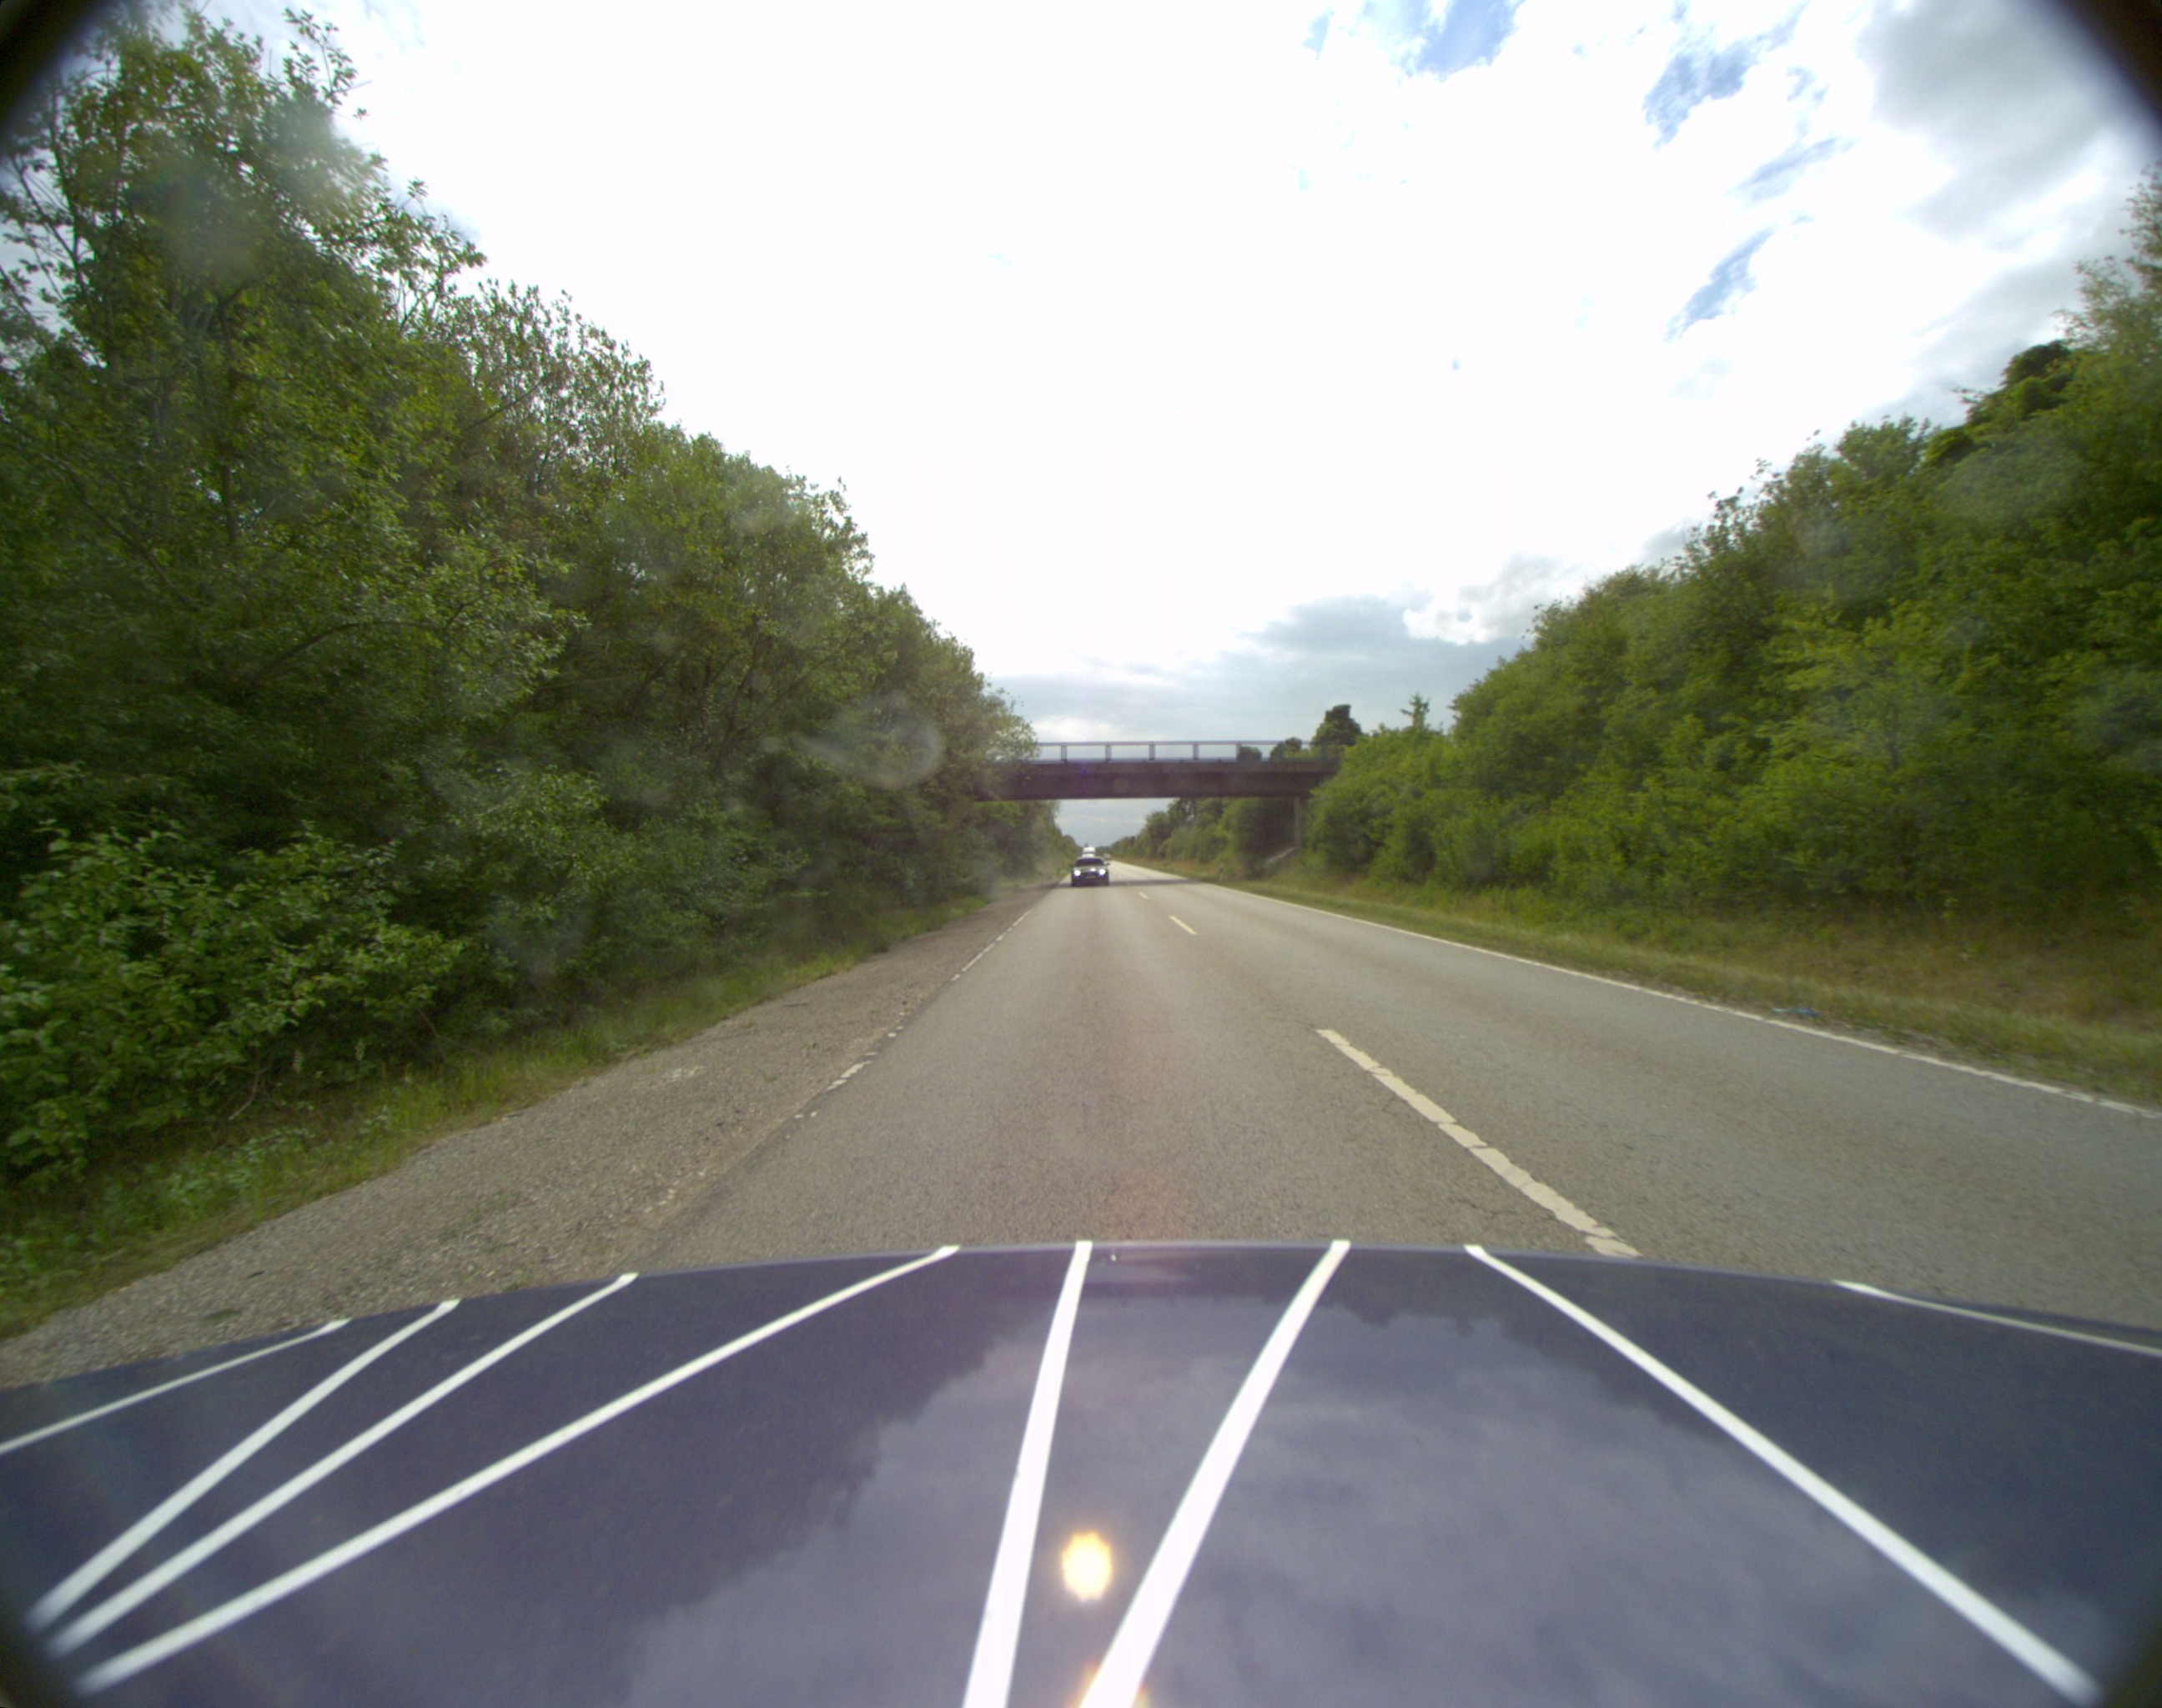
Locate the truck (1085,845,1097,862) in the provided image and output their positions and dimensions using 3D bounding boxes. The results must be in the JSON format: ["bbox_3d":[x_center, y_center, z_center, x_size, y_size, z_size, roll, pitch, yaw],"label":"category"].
[{"bbox_3d":[1.541,-0.063,117.149,1.802,2.518,6.685,-2,1,1],"label":"truck"}]

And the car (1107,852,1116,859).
[{"bbox_3d":[6.875,0.354,173.613,1.892,1.637,4.000,-2,0,0],"label":"car"}]

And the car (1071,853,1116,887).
[{"bbox_3d":[0.621,0.736,36.988,1.998,1.436,4.640,-2,1,1],"label":"car"}]

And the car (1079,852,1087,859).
[{"bbox_3d":[0.489,0.397,186.219,1.893,1.637,3.999,-2,0,-1],"label":"car"}]
